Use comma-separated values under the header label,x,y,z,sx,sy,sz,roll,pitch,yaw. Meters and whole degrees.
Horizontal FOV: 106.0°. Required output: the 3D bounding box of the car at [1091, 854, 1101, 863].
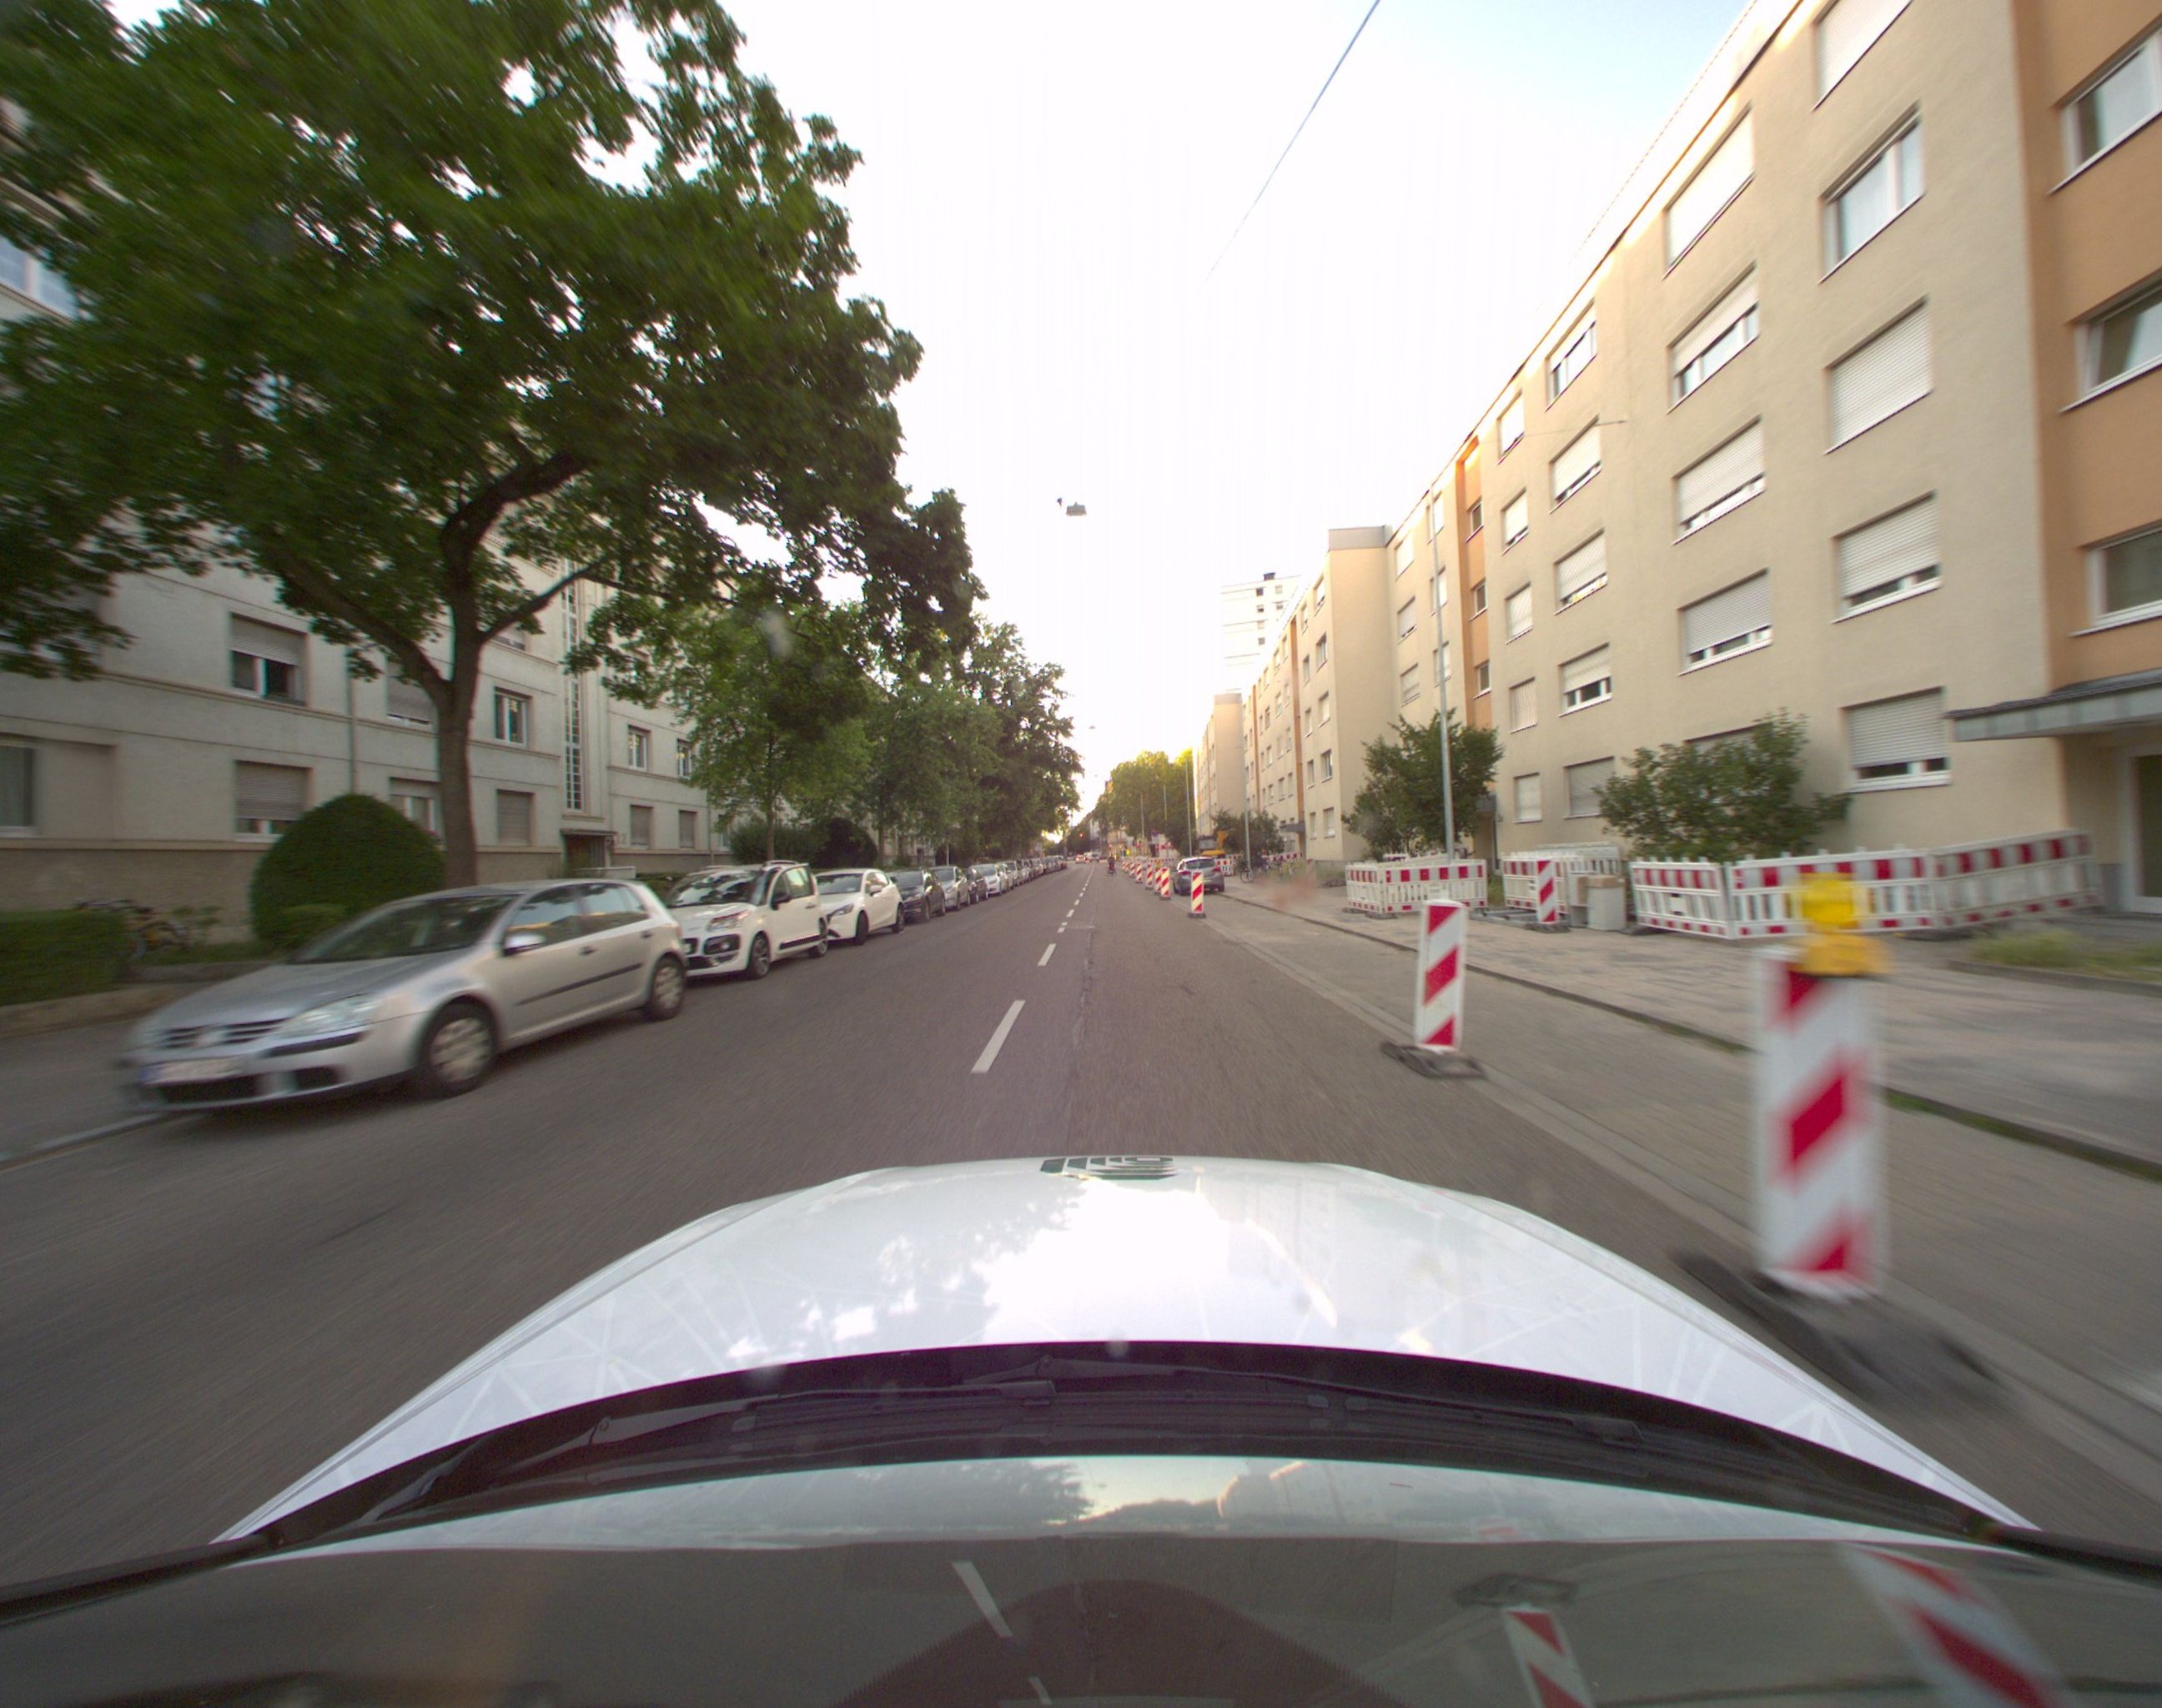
label,x,y,z,sx,sy,sz,roll,pitch,yaw
car,3.053,0.885,169.093,1.860,1.815,3.999,-3,0,0

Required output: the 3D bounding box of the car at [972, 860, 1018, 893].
label,x,y,z,sx,sy,sz,roll,pitch,yaw
car,-4.347,1.122,41.779,1.686,1.459,4.484,-5,0,1

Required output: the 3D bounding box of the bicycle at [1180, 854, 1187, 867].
label,x,y,z,sx,sy,sz,roll,pitch,yaw
bicycle,10.056,0.648,79.695,0.396,1.222,1.910,-2,0,-1

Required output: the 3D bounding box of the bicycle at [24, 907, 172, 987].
label,x,y,z,sx,sy,sz,roll,pitch,yaw
bicycle,-13.820,1.299,11.452,1.798,1.043,0.560,-2,0,13

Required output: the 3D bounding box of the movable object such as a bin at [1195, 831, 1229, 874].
label,x,y,z,sx,sy,sz,roll,pitch,yaw
movable object such as a bin,8.456,-0.102,52.870,1.924,2.693,2.896,-2,0,6

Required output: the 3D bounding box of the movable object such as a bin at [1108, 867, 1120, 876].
label,x,y,z,sx,sy,sz,roll,pitch,yaw
movable object such as a bin,2.698,1.424,66.636,0.937,0.689,0.992,-5,-1,-2

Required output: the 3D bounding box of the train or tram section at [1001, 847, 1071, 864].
label,x,y,z,sx,sy,sz,roll,pitch,yaw
train or tram section,-11.467,0.334,208.077,16.869,3.625,5.068,-2,0,18

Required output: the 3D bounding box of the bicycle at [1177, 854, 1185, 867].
label,x,y,z,sx,sy,sz,roll,pitch,yaw
bicycle,9.781,0.651,79.607,0.450,1.222,1.910,-2,0,-1

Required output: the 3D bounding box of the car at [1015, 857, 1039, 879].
label,x,y,z,sx,sy,sz,roll,pitch,yaw
car,-4.035,1.051,61.396,1.518,1.529,3.164,-5,0,0

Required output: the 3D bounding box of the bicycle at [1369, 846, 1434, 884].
label,x,y,z,sx,sy,sz,roll,pitch,yaw
bicycle,10.123,0.361,25.780,1.742,0.986,0.559,-7,-1,10

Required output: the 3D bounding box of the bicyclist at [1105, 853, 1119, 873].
label,x,y,z,sx,sy,sz,roll,pitch,yaw
bicyclist,2.608,0.723,68.343,0.937,1.581,1.145,-5,-1,-2

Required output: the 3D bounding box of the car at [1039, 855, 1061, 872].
label,x,y,z,sx,sy,sz,roll,pitch,yaw
car,-3.191,0.967,84.567,1.724,1.497,4.277,-4,0,5

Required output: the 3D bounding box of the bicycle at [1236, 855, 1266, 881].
label,x,y,z,sx,sy,sz,roll,pitch,yaw
bicycle,8.048,0.666,38.687,0.557,1.172,1.805,-2,0,-18

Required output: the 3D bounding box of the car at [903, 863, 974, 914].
label,x,y,z,sx,sy,sz,roll,pitch,yaw
car,-4.696,1.095,27.328,1.670,1.459,3.703,-5,0,-1

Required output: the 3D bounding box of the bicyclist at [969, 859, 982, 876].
label,x,y,z,sx,sy,sz,roll,pitch,yaw
bicyclist,-8.460,1.081,65.348,0.805,1.404,0.974,-1,0,1

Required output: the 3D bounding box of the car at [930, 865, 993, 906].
label,x,y,z,sx,sy,sz,roll,pitch,yaw
car,-4.626,1.193,32.168,1.669,1.331,4.580,-5,0,0

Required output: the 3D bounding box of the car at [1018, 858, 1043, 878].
label,x,y,z,sx,sy,sz,roll,pitch,yaw
car,-4.036,1.115,65.545,1.584,1.404,4.182,-5,0,1

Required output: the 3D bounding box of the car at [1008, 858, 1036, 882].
label,x,y,z,sx,sy,sz,roll,pitch,yaw
car,-4.098,1.110,57.122,1.585,1.466,4.101,-5,0,-1

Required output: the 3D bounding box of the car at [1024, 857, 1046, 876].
label,x,y,z,sx,sy,sz,roll,pitch,yaw
car,-3.962,1.072,70.954,1.586,1.539,4.204,-5,0,-1

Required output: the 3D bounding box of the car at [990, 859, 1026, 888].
label,x,y,z,sx,sy,sz,roll,pitch,yaw
car,-4.264,1.095,48.109,1.584,1.505,3.800,-5,0,1

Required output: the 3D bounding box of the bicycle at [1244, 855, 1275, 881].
label,x,y,z,sx,sy,sz,roll,pitch,yaw
bicycle,8.576,0.664,39.184,0.627,1.172,1.807,-2,0,-15

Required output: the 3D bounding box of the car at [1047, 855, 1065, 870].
label,x,y,z,sx,sy,sz,roll,pitch,yaw
car,-2.955,0.994,97.283,1.947,1.719,4.771,-4,0,1

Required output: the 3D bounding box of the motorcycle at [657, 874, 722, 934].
label,x,y,z,sx,sy,sz,roll,pitch,yaw
motorcycle,-9.338,1.164,19.509,0.584,1.325,1.829,-2,0,1

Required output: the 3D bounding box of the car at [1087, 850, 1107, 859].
label,x,y,z,sx,sy,sz,roll,pitch,yaw
car,4.446,0.164,231.378,5.855,2.288,2.047,-2,0,-42

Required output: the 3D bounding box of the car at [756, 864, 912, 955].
label,x,y,z,sx,sy,sz,roll,pitch,yaw
car,-4.939,1.044,16.893,1.745,1.479,3.947,-5,0,3

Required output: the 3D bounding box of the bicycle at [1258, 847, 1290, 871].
label,x,y,z,sx,sy,sz,roll,pitch,yaw
bicycle,10.484,0.263,44.276,1.590,1.222,0.484,-2,0,-6

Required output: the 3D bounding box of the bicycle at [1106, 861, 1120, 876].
label,x,y,z,sx,sy,sz,roll,pitch,yaw
bicycle,2.647,1.217,68.322,0.937,1.172,2.357,-5,-1,-2

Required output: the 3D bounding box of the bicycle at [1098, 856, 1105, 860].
label,x,y,z,sx,sy,sz,roll,pitch,yaw
bicycle,5.754,1.157,225.113,1.909,0.968,0.545,-2,0,-1

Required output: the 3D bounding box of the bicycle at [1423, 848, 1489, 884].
label,x,y,z,sx,sy,sz,roll,pitch,yaw
bicycle,10.448,0.352,22.754,0.559,0.865,1.600,-6,-1,-27

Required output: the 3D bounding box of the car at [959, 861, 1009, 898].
label,x,y,z,sx,sy,sz,roll,pitch,yaw
car,-4.368,1.118,37.208,1.687,1.459,4.143,-5,0,-1

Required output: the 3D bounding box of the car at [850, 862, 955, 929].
label,x,y,z,sx,sy,sz,roll,pitch,yaw
car,-4.758,1.046,22.371,1.747,1.479,4.677,-5,0,0

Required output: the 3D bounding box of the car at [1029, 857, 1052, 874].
label,x,y,z,sx,sy,sz,roll,pitch,yaw
car,-3.705,1.046,75.348,1.701,1.452,3.844,-5,0,2

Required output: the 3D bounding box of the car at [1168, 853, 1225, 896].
label,x,y,z,sx,sy,sz,roll,pitch,yaw
car,4.735,0.806,33.856,1.769,1.490,4.576,-6,0,2

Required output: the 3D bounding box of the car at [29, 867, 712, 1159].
label,x,y,z,sx,sy,sz,roll,pitch,yaw
car,-5.048,0.952,6.785,1.745,1.471,4.226,-5,0,2

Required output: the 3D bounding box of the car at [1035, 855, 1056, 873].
label,x,y,z,sx,sy,sz,roll,pitch,yaw
car,-3.464,0.940,79.764,1.701,1.600,4.117,-5,0,1

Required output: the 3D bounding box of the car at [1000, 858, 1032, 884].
label,x,y,z,sx,sy,sz,roll,pitch,yaw
car,-4.160,1.078,52.537,1.583,1.529,2.924,-5,0,3

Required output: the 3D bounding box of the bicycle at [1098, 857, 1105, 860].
label,x,y,z,sx,sy,sz,roll,pitch,yaw
bicycle,5.790,1.272,225.118,1.909,0.968,0.545,-2,0,-1

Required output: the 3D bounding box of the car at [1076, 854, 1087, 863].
label,x,y,z,sx,sy,sz,roll,pitch,yaw
car,0.091,0.885,152.989,1.860,1.585,4.000,-3,0,0

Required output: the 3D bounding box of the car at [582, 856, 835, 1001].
label,x,y,z,sx,sy,sz,roll,pitch,yaw
car,-5.219,0.928,12.112,1.747,1.632,4.106,-5,0,0

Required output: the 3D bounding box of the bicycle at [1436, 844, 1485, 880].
label,x,y,z,sx,sy,sz,roll,pitch,yaw
bicycle,11.581,0.237,24.816,1.827,0.921,0.551,-6,-2,-40

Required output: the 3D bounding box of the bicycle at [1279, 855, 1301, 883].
label,x,y,z,sx,sy,sz,roll,pitch,yaw
bicycle,8.998,0.626,35.102,0.553,1.172,1.819,-2,0,4

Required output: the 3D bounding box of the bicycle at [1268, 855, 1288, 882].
label,x,y,z,sx,sy,sz,roll,pitch,yaw
bicycle,8.996,0.643,37.151,0.553,1.172,1.819,-2,0,4
